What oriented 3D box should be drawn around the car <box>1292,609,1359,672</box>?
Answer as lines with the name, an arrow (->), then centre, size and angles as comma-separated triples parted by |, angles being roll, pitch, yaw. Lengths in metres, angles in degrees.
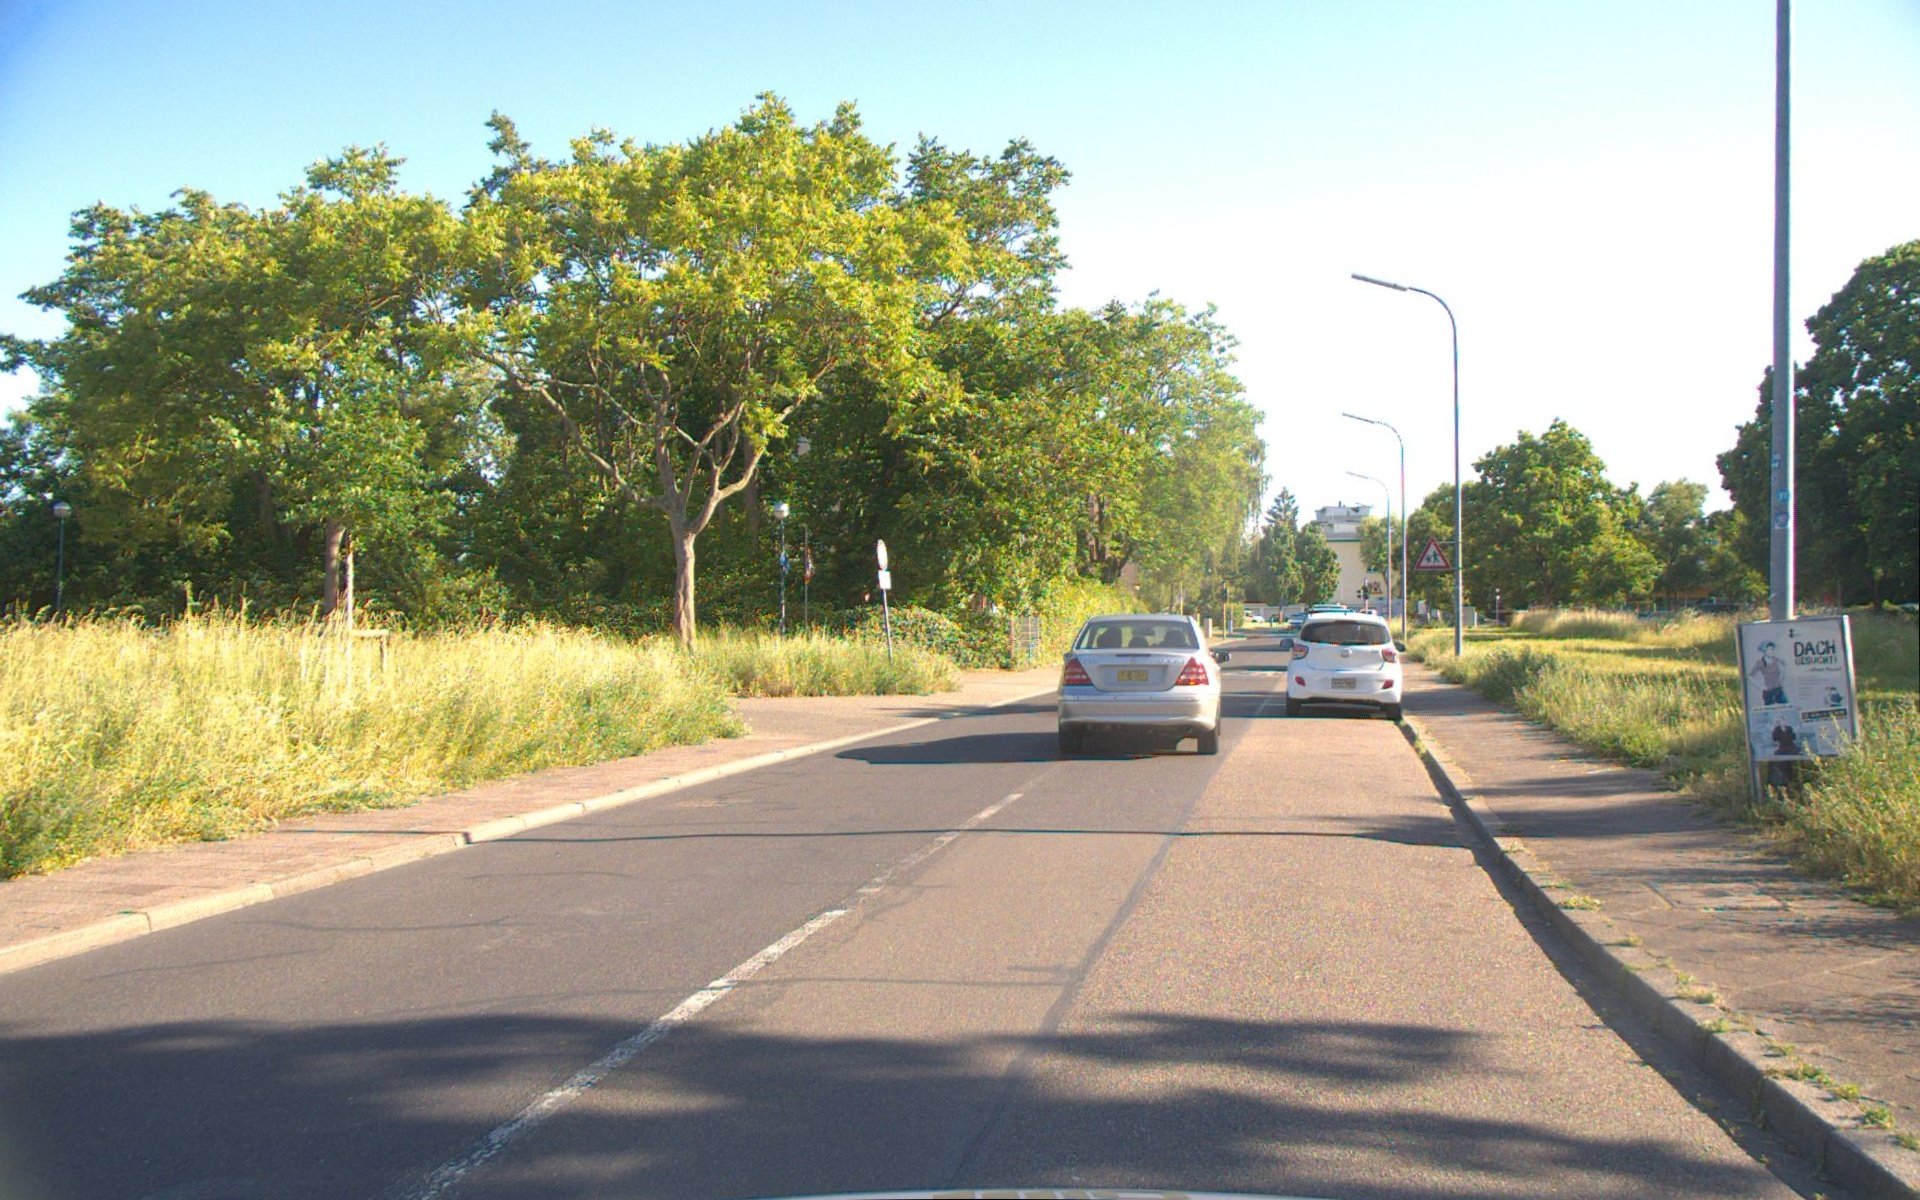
car -> 9.940, 1.080, 45.160 | 1.662, 1.639, 4.003 | -1, -1, 11

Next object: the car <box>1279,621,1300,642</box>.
car -> 30.026, 2.891, 150.521 | 1.844, 1.758, 4.002 | -1, -3, 12

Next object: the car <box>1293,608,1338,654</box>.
car -> 14.365, 1.228, 66.934 | 1.662, 1.790, 3.854 | 1, 0, 12

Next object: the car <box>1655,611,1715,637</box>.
car -> 49.519, 1.628, 113.008 | 3.631, 1.646, 1.697 | -2, -3, 28

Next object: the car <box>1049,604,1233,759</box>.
car -> 2.126, 0.833, 18.378 | 1.777, 1.489, 4.364 | 0, -1, 9

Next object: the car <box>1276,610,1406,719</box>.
car -> 5.765, 0.953, 25.362 | 1.685, 1.505, 3.743 | 1, -1, 9

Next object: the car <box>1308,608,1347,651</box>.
car -> 17.016, 1.357, 76.712 | 1.662, 1.884, 3.854 | 1, 0, 12

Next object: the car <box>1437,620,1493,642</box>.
car -> 36.642, 2.269, 120.070 | 3.631, 1.467, 1.697 | -2, -3, 28
